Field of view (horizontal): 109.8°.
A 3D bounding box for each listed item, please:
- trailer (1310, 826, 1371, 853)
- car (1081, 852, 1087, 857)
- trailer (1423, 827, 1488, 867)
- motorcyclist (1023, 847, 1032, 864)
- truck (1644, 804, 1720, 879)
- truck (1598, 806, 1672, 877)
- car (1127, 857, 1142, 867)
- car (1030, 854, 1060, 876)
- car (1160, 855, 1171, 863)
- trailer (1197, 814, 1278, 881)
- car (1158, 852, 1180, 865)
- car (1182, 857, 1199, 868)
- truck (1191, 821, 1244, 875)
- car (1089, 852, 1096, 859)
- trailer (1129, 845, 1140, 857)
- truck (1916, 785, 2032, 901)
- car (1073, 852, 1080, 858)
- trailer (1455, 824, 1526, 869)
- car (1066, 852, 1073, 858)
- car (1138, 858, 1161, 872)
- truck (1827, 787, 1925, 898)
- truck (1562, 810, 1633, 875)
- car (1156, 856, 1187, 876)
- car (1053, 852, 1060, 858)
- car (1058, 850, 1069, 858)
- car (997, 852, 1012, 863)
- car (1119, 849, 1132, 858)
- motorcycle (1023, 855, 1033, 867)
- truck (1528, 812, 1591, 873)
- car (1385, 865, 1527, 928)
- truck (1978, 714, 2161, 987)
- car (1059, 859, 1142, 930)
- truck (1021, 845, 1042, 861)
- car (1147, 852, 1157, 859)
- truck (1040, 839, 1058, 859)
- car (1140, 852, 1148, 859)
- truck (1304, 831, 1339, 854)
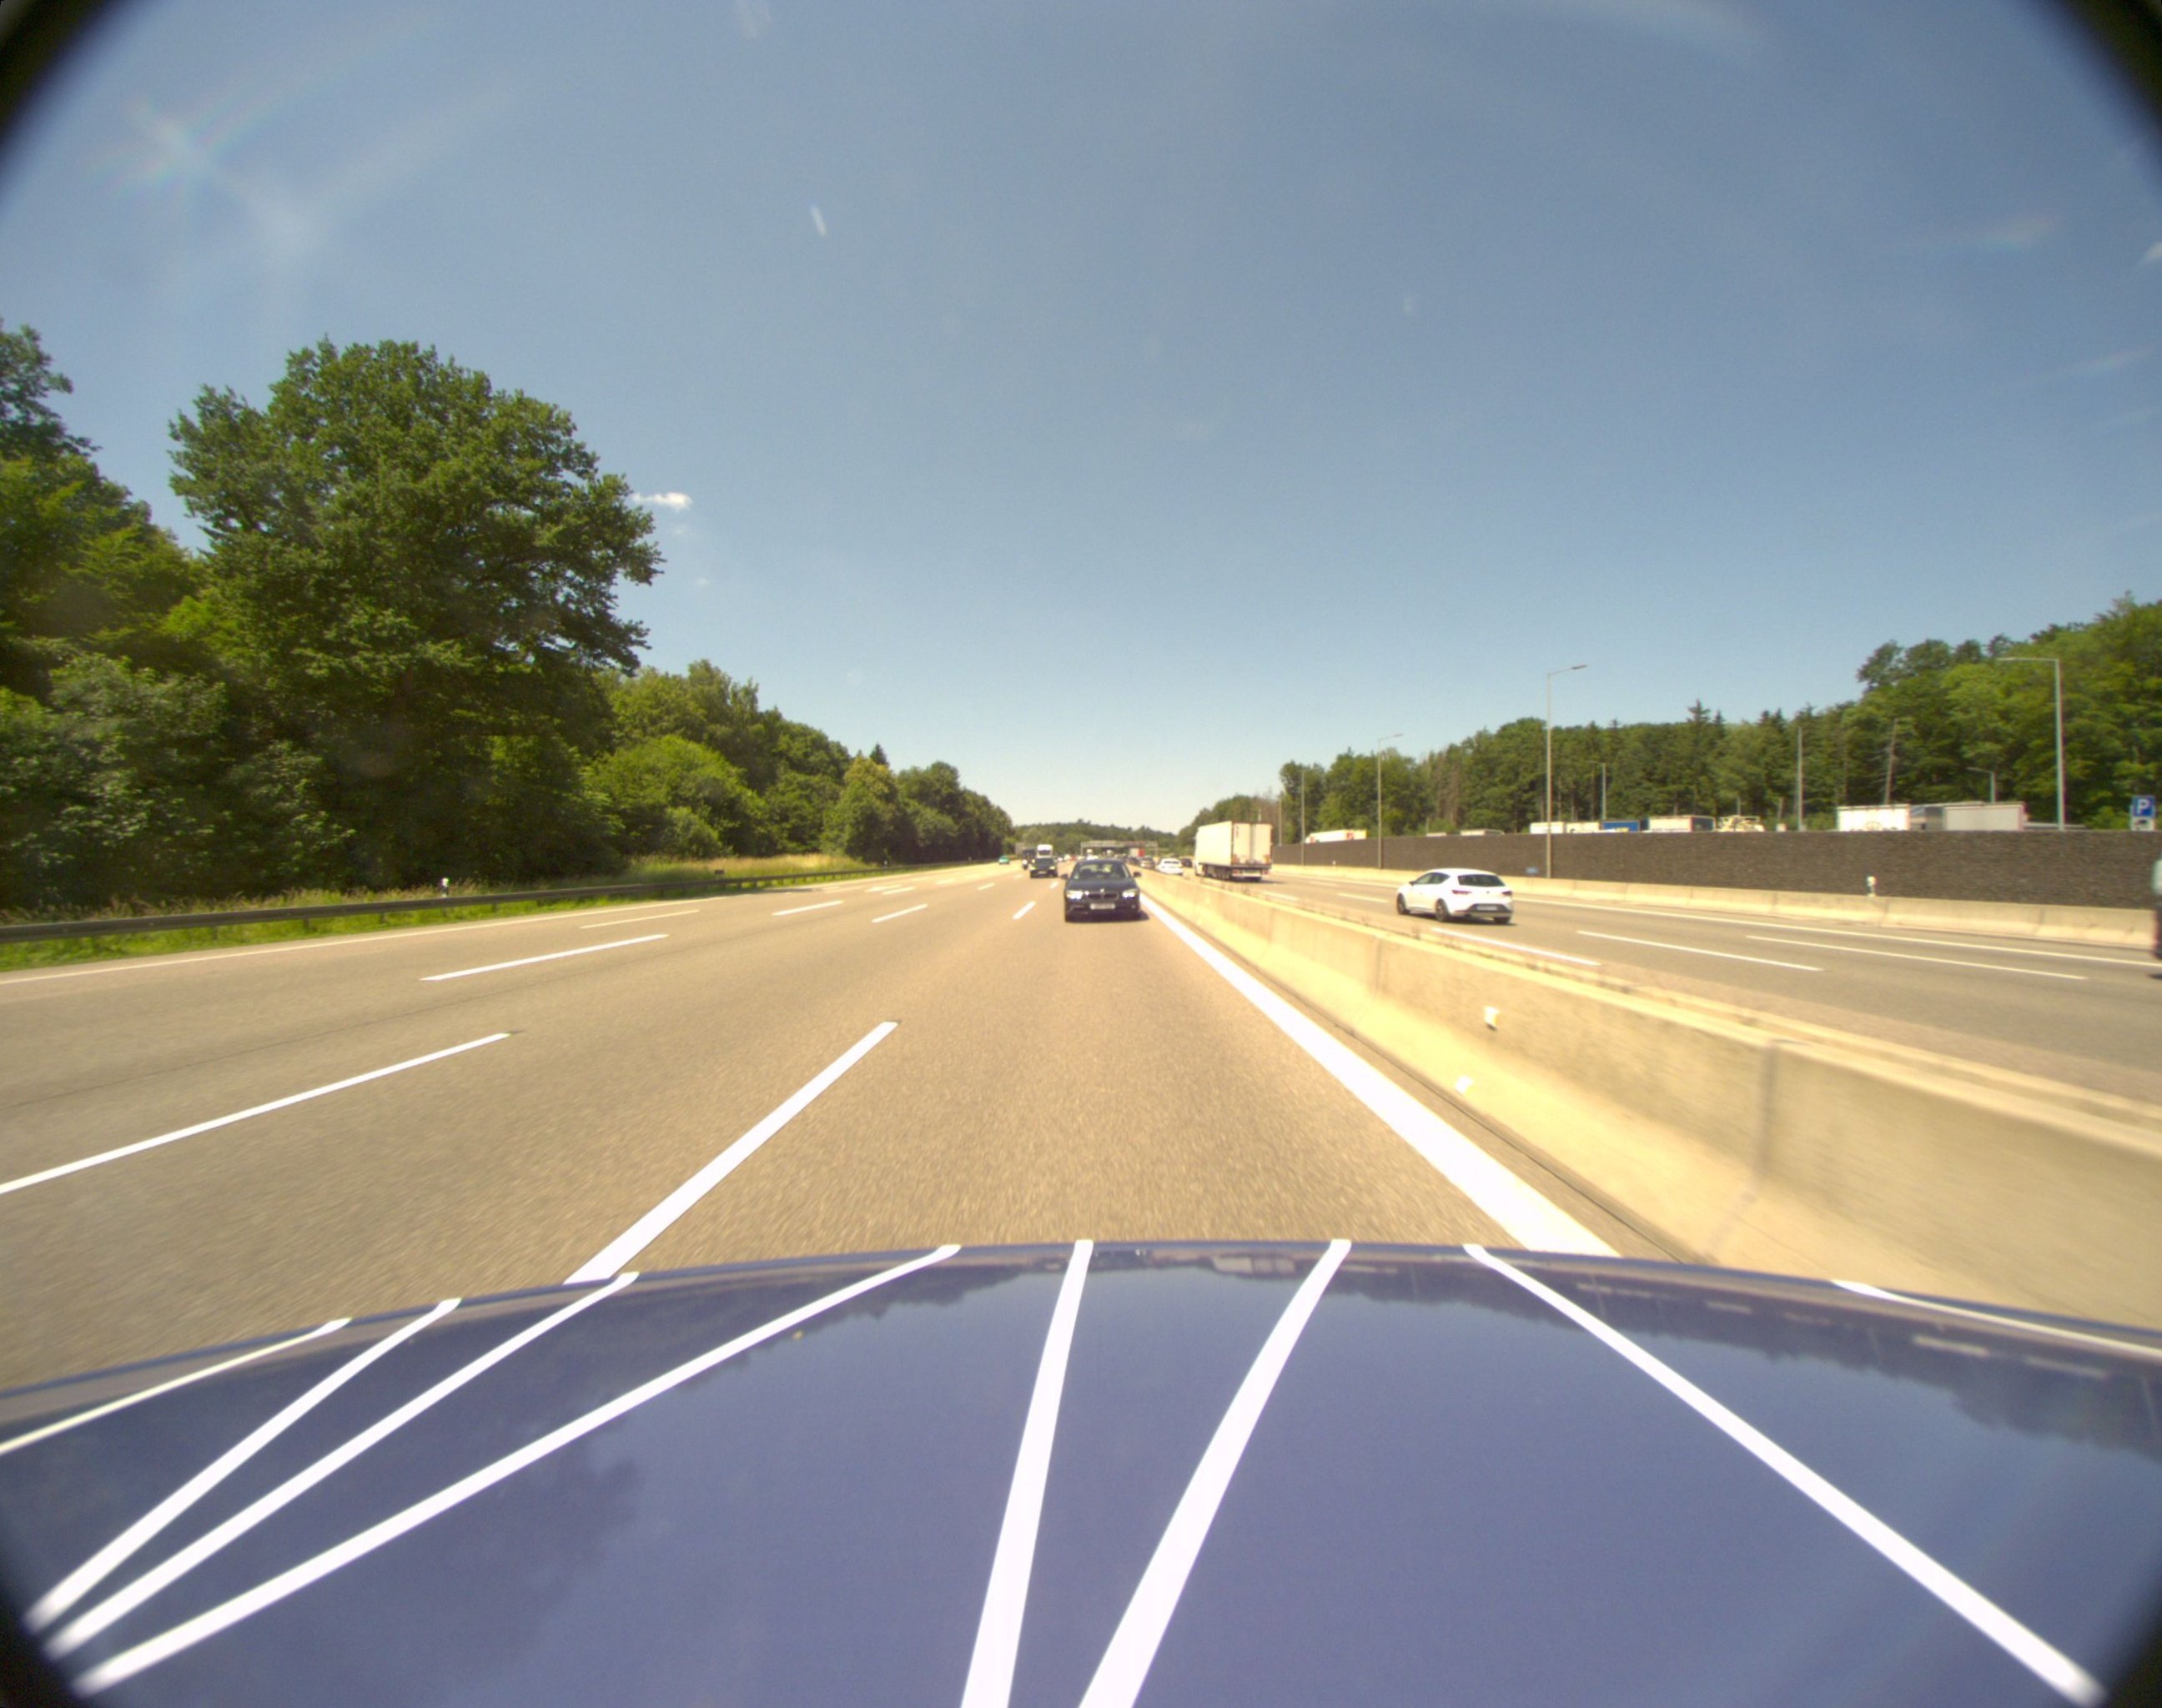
[{"bbox_3d":[32.716,-1.733,96.773,2.979,3.106,14.609,0,0,1],"label":"trailer"},{"bbox_3d":[0.884,0.212,251.437,1.910,1.450,4.127,1,0,1],"label":"car"},{"bbox_3d":[50.466,-0.934,102.126,14.597,5.043,3.120,0,1,-44],"label":"trailer"},{"bbox_3d":[-5.887,0.180,84.267,0.914,1.926,0.905,0,1,1],"label":"motorcyclist"},{"bbox_3d":[48.658,-0.948,61.347,11.562,5.580,3.358,0,1,-45],"label":"truck"},{"bbox_3d":[47.406,-0.985,64.829,11.562,5.580,3.219,0,1,-45],"label":"truck"},{"bbox_3d":[8.127,1.192,115.596,1.875,1.538,4.591,0,0,-1],"label":"car"},{"bbox_3d":[-2.452,0.758,53.076,1.834,1.454,4.204,1,0,1],"label":"car"},{"bbox_3d":[16.113,0.899,145.120,1.758,1.538,4.137,0,0,-1],"label":"car"},{"bbox_3d":[11.000,-0.429,55.340,3.030,4.200,14.466,1,0,1],"label":"trailer"},{"bbox_3d":[10.545,0.539,91.143,1.999,1.478,5.018,2,0,-1],"label":"car"},{"bbox_3d":[15.442,1.153,107.140,1.758,1.538,4.137,0,0,-1],"label":"car"},{"bbox_3d":[11.123,-0.459,62.622,3.055,4.113,6.948,2,0,0],"label":"truck"},{"bbox_3d":[3.295,0.416,219.111,1.998,1.935,4.127,0,-1,1],"label":"car"},{"bbox_3d":[17.745,-1.029,250.840,2.761,3.978,14.467,0,0,1],"label":"trailer"},{"bbox_3d":[50.543,-0.550,43.461,16.746,5.580,3.214,0,1,-44],"label":"truck"},{"bbox_3d":[-1.198,0.323,204.148,1.910,1.450,4.127,1,0,1],"label":"car"},{"bbox_3d":[49.154,-0.869,90.899,14.597,5.043,3.214,0,1,-44],"label":"trailer"},{"bbox_3d":[-3.231,0.259,219.084,1.747,1.529,4.127,1,0,2],"label":"car"},{"bbox_3d":[7.510,1.167,84.070,1.999,1.478,5.135,0,0,-1],"label":"car"},{"bbox_3d":[47.124,-0.596,45.160,16.746,5.580,3.441,0,1,-44],"label":"truck"},{"bbox_3d":[47.919,-1.018,70.329,11.562,5.580,3.219,0,1,-45],"label":"truck"},{"bbox_3d":[6.748,0.885,56.930,1.752,1.449,4.156,0,0,-1],"label":"car"},{"bbox_3d":[-6.787,0.276,211.541,1.747,1.529,4.127,1,0,2],"label":"car"},{"bbox_3d":[-3.767,-0.007,162.839,1.998,1.670,4.127,1,0,3],"label":"car"},{"bbox_3d":[-13.083,0.596,130.606,1.998,1.670,4.127,1,0,3],"label":"car"},{"bbox_3d":[8.352,-0.052,143.515,1.999,1.653,5.753,1,0,-1],"label":"car"},{"bbox_3d":[-5.884,0.763,84.299,0.925,1.310,2.998,0,0,1],"label":"motorcycle"},{"bbox_3d":[46.475,-1.048,73.704,8.506,5.580,3.219,0,1,-45],"label":"truck"},{"bbox_3d":[10.322,1.101,21.347,1.727,1.498,4.460,0,0,-1],"label":"car"},{"bbox_3d":[17.841,-0.045,8.669,2.842,4.173,10.596,0,0,2],"label":"truck"},{"bbox_3d":[0.498,0.901,18.875,1.741,1.450,4.543,-2,0,2],"label":"car"},{"bbox_3d":[-8.941,-0.180,138.574,2.660,2.839,10.887,1,0,3],"label":"truck"},{"bbox_3d":[17.493,0.309,186.493,1.998,1.763,5.923,1,0,1],"label":"car"},{"bbox_3d":[-5.352,-0.819,128.326,2.428,3.237,8.689,1,0,1],"label":"truck"},{"bbox_3d":[18.000,0.396,217.731,1.998,1.763,5.038,0,0,1],"label":"car"},{"bbox_3d":[32.792,-1.533,103.971,2.934,3.106,6.202,0,0,1],"label":"truck"}]
